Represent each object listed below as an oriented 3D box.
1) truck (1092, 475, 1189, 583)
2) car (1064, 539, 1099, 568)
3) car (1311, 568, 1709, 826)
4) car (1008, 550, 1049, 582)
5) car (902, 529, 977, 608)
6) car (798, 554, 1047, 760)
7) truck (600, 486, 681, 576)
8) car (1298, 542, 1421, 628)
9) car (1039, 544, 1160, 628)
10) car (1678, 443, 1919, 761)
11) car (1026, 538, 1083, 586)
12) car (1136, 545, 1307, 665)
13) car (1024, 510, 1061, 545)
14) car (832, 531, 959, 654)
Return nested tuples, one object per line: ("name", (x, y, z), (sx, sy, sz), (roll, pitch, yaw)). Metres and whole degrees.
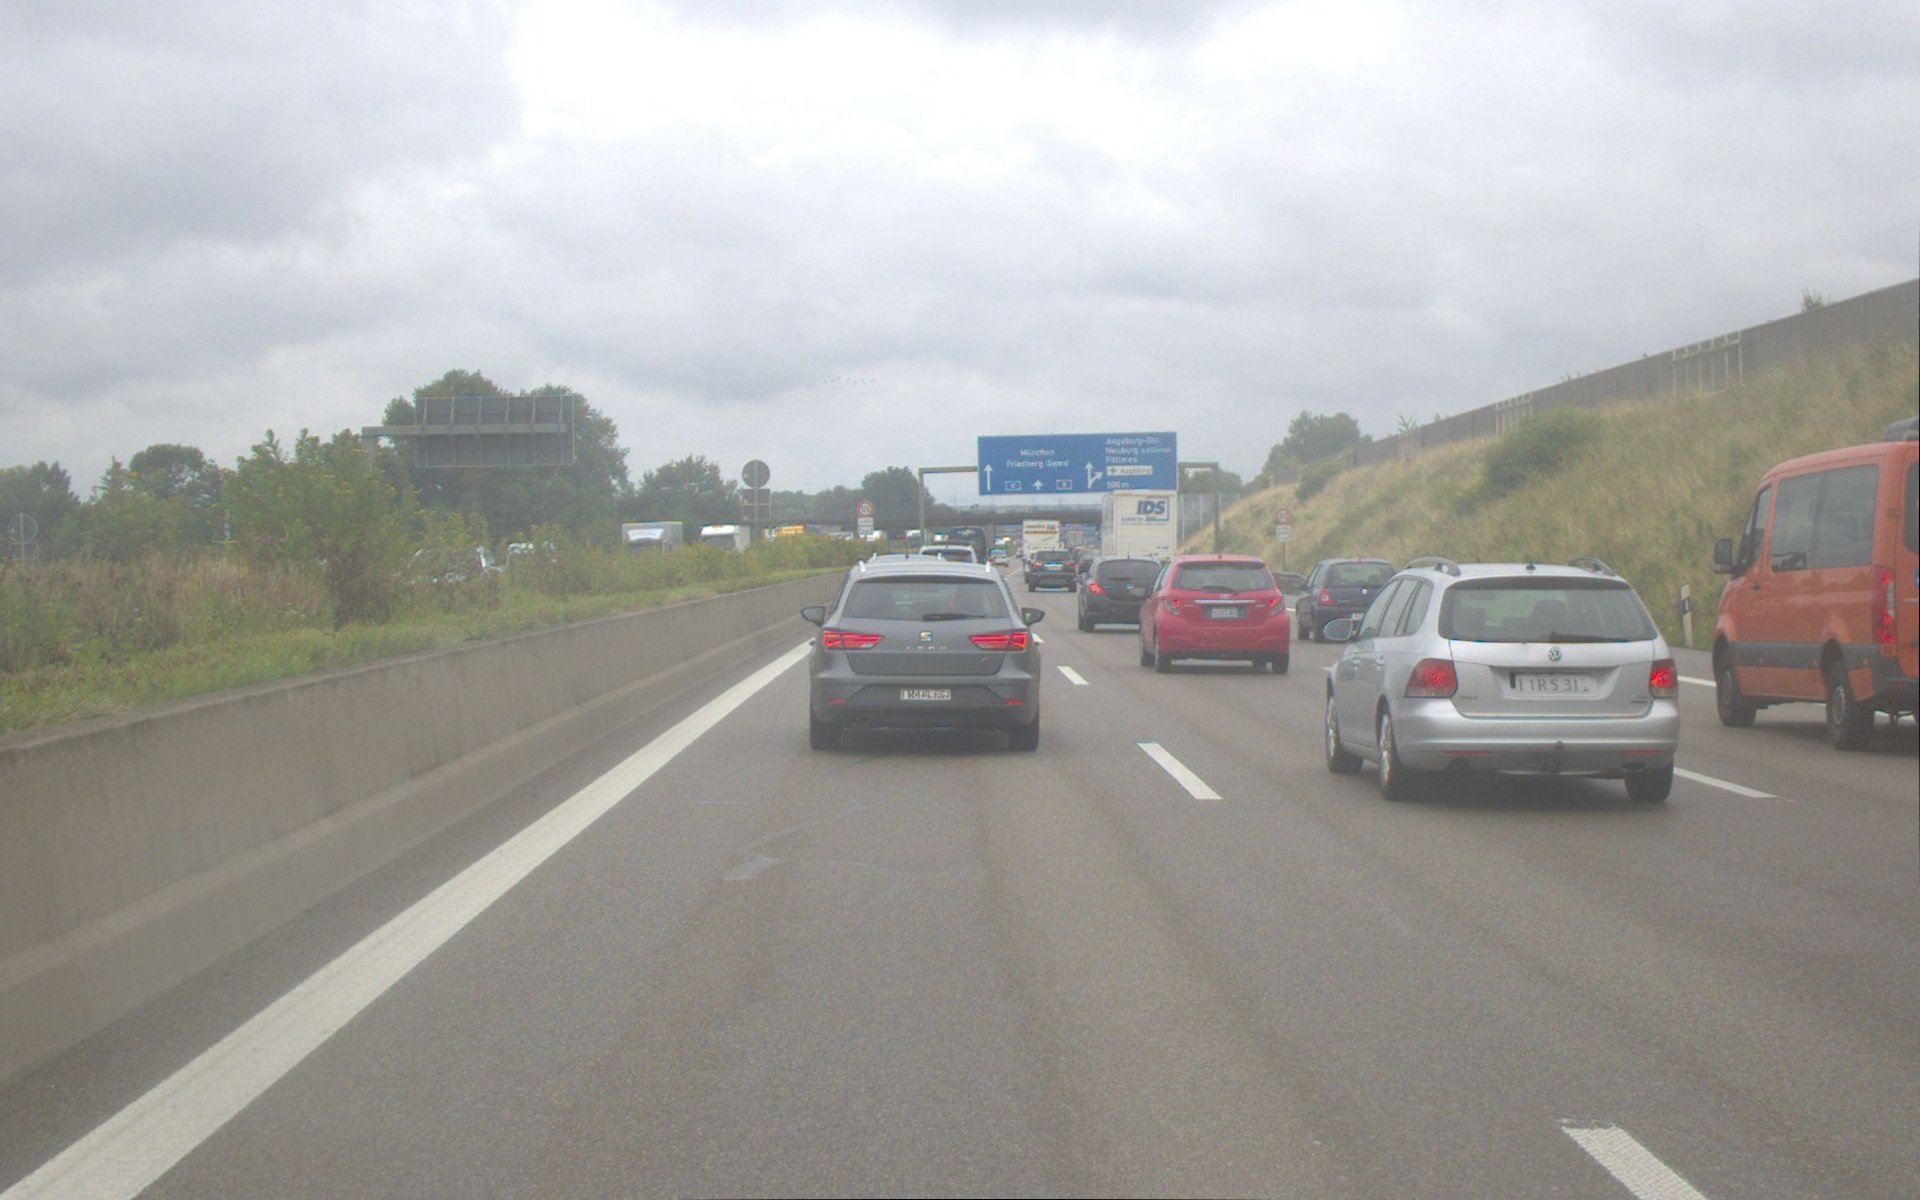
("truck", (7.601, -2.935, 147.392), (3.283, 4.280, 19.033), (1, 1, 1))
("car", (7.830, -2.999, 221.831), (1.993, 1.853, 4.391), (-1, 1, -1))
("car", (3.380, 0.535, 21.928), (1.742, 1.420, 4.517), (-1, 1, -1))
("car", (3.248, -1.630, 163.731), (1.751, 1.512, 4.000), (-1, 1, -1))
("car", (-0.484, -0.770, 82.019), (1.704, 1.790, 3.855), (-2, 1, 0))
("car", (-0.267, 0.390, 26.712), (1.768, 1.462, 4.000), (1, 1, 0))
("truck", (-16.870, -3.618, 182.248), (3.225, 4.633, 9.674), (1, 1, 1))
("car", (6.753, -0.259, 58.445), (1.702, 1.396, 3.875), (1, 1, 1))
("car", (2.620, -0.300, 65.493), (1.921, 1.516, 4.623), (0, 1, -2))
("car", (7.628, -0.052, 28.030), (2.085, 2.307, 6.182), (0, 1, -2))
("car", (3.426, -1.391, 125.405), (1.845, 1.681, 4.000), (1, 1, -2))
("car", (3.334, 0.026, 44.588), (1.891, 1.442, 4.685), (0, 1, 1))
("car", (4.909, -4.345, 206.037), (1.993, 2.007, 4.000), (-1, 1, -2))
("car", (-0.933, -0.127, 51.517), (1.754, 1.744, 4.000), (1, 1, 1))
